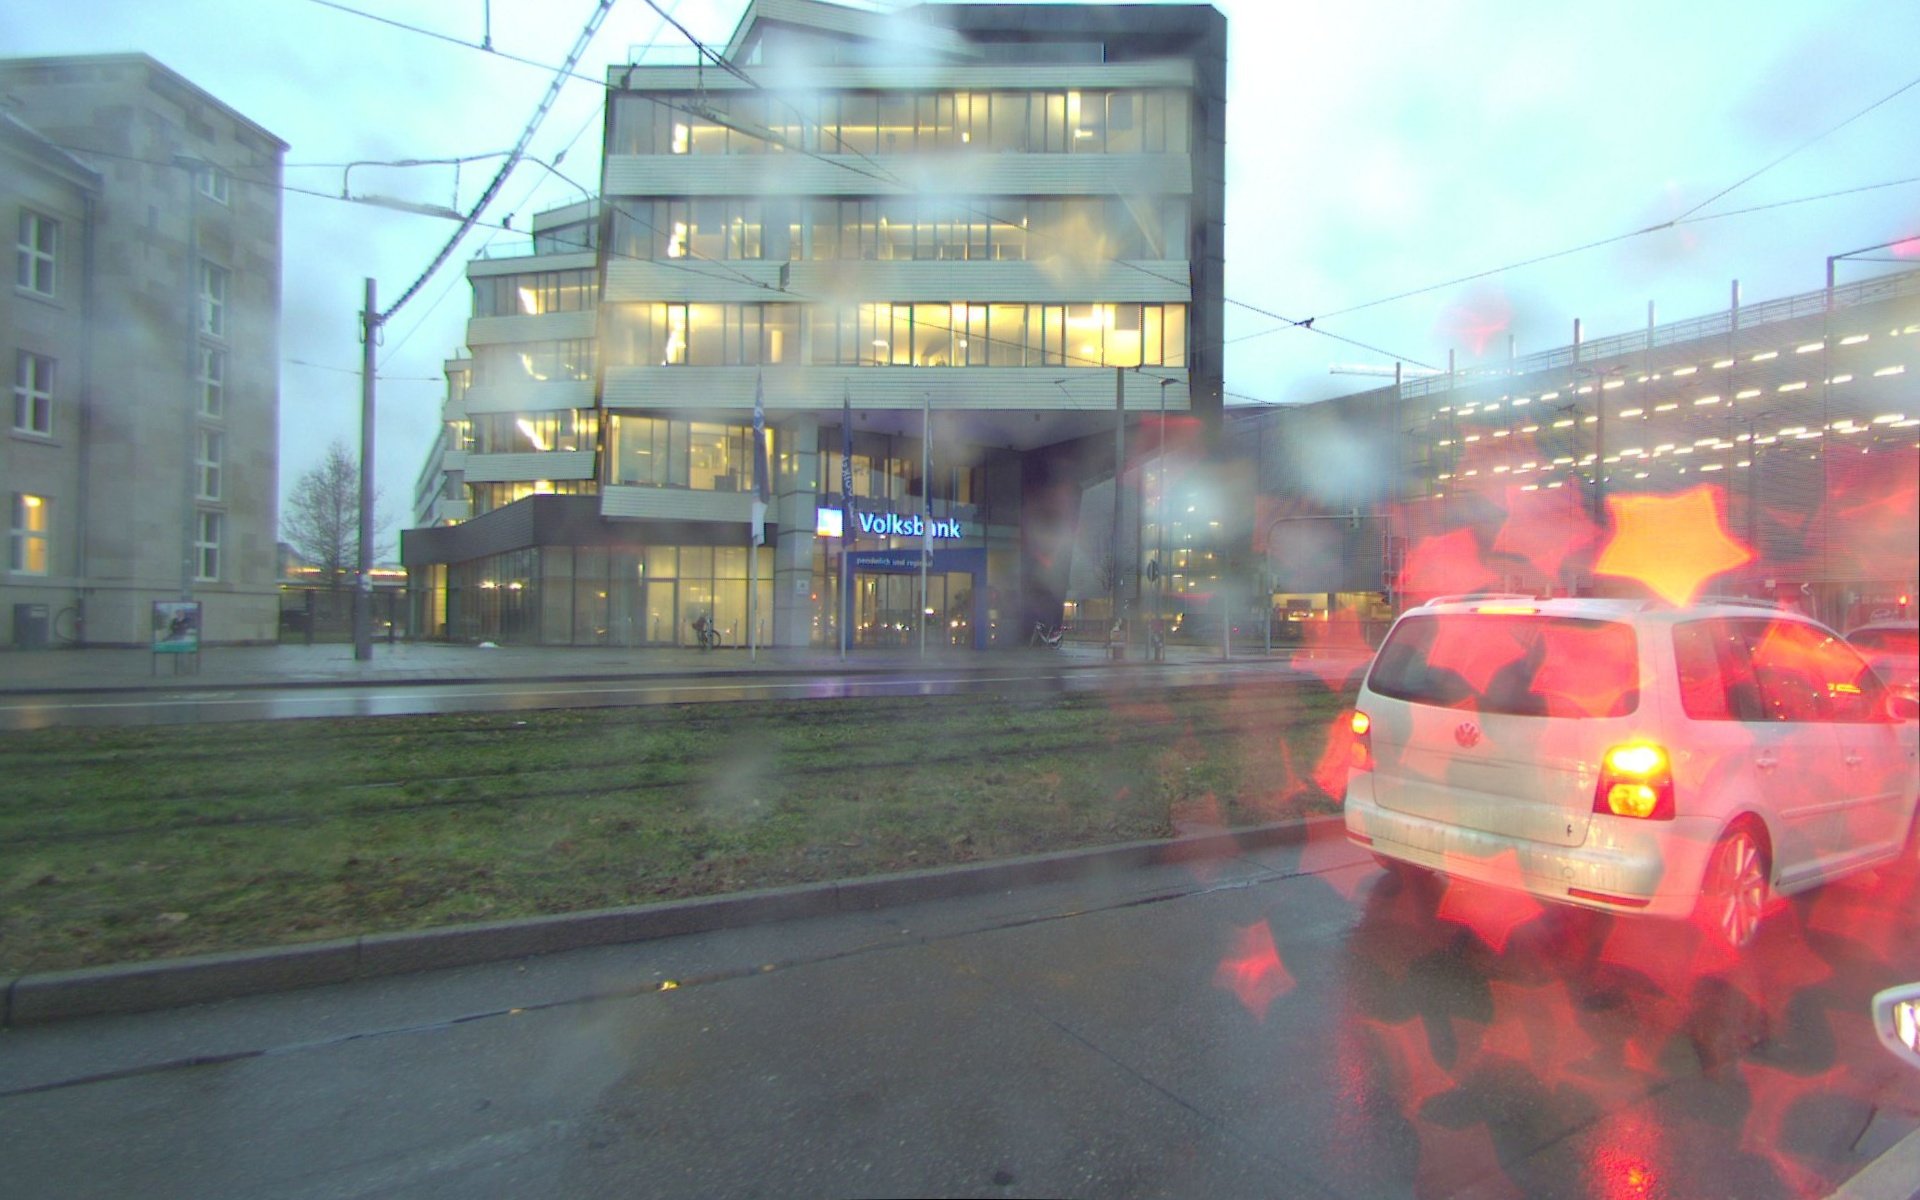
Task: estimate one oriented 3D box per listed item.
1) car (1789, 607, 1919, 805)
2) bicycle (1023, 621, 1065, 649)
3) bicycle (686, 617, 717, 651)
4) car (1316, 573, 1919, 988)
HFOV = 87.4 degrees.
[{"bbox_3d":[9.508,0.898,9.332,4.320,1.591,1.808,1,-1,-36],"label":"car"},{"bbox_3d":[3.359,1.387,40.043,1.582,1.084,0.637,0,-1,-31],"label":"bicycle"},{"bbox_3d":[-8.756,1.139,34.050,0.518,1.142,1.498,0,-1,6],"label":"bicycle"},{"bbox_3d":[4.096,0.742,5.754,4.176,1.620,1.662,1,0,-32],"label":"car"}]
